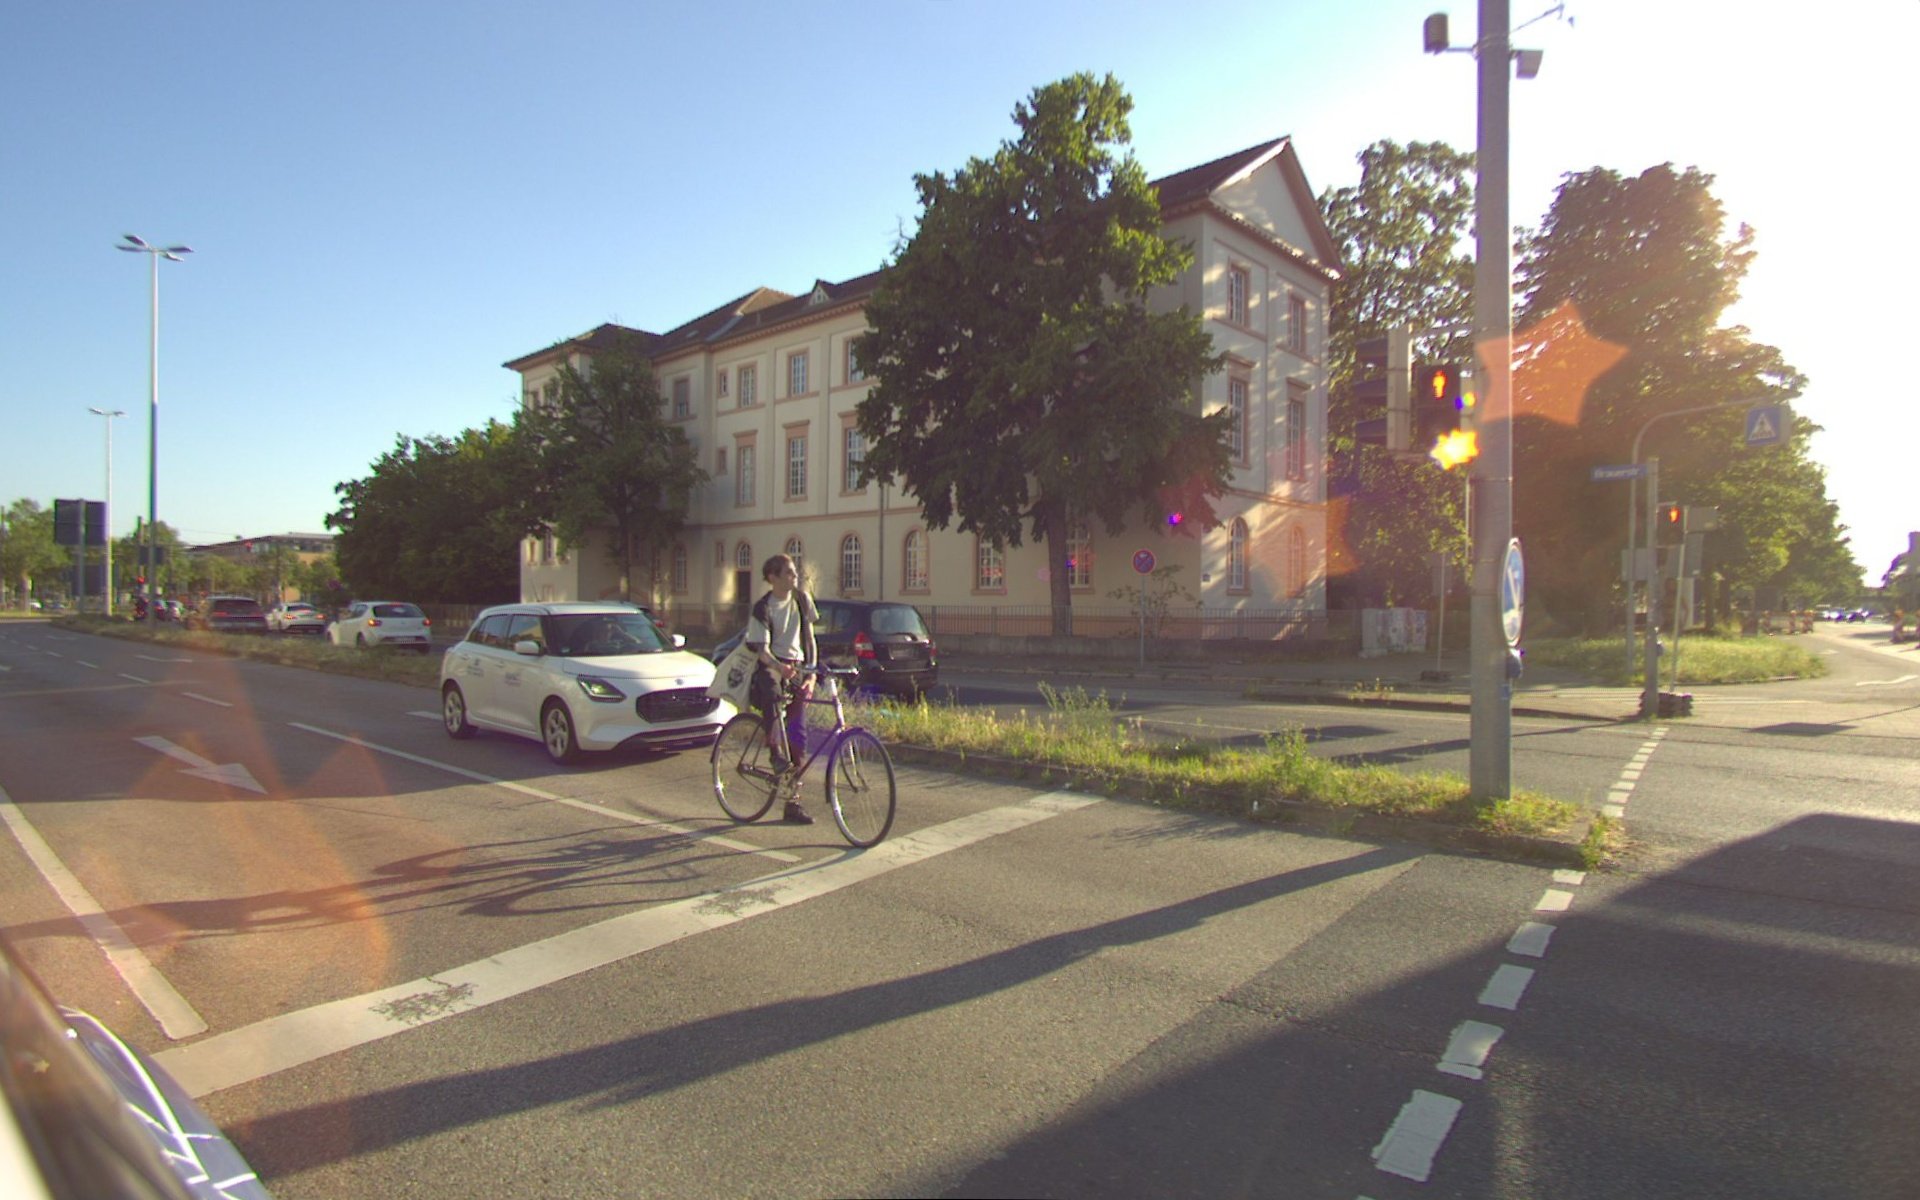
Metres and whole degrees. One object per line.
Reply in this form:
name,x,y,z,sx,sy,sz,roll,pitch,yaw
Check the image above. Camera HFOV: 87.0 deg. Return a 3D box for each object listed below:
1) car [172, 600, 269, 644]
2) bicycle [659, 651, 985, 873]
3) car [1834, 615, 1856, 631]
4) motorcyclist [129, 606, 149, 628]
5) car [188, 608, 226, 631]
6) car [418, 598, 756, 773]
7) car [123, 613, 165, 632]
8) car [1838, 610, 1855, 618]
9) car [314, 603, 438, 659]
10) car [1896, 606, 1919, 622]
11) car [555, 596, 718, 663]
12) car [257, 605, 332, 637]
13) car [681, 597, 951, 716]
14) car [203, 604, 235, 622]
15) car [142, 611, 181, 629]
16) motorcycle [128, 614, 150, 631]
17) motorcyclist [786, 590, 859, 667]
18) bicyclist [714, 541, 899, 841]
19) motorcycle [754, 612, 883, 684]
car,-28.333,0.804,38.728,4.896,1.590,1.973,0,-1,41
bicycle,-0.944,0.919,6.412,2.255,1.108,0.693,0,-1,39
car,105.238,2.686,120.408,1.700,1.852,3.949,0,-1,37
motorcyclist,-53.553,1.082,66.032,0.840,1.408,1.064,1,-1,-32
car,-50.367,1.299,67.651,1.968,1.507,5.303,1,-1,-38
car,-4.004,0.741,10.525,3.999,1.468,1.667,-1,0,43
car,-56.112,1.519,69.658,1.695,1.306,4.389,1,-1,-32
car,158.627,2.486,181.162,3.939,1.564,1.849,1,-1,-42
car,-15.806,0.808,27.304,4.179,1.403,1.667,-1,-1,41
car,121.449,1.845,129.594,1.997,1.899,3.949,2,-1,37
car,-7.963,0.687,24.716,4.510,1.510,1.668,-1,-1,40
car,-31.477,0.983,47.824,4.443,1.424,1.972,-1,-2,43
car,-2.167,0.731,14.640,3.997,1.506,1.641,-1,-1,40
car,-54.457,0.958,74.412,1.695,1.329,3.905,1,-1,-34
car,-59.274,1.498,75.168,1.695,1.306,4.262,1,-1,-30
motorcycle,-53.593,1.467,66.085,0.847,1.116,2.477,1,-1,-32
motorcyclist,-2.628,0.533,19.340,1.237,1.430,0.762,-1,-1,40
bicyclist,-0.984,0.534,6.459,0.987,1.741,0.684,0,-1,39
motorcycle,-2.764,0.884,19.491,2.840,1.294,0.762,0,-1,40
